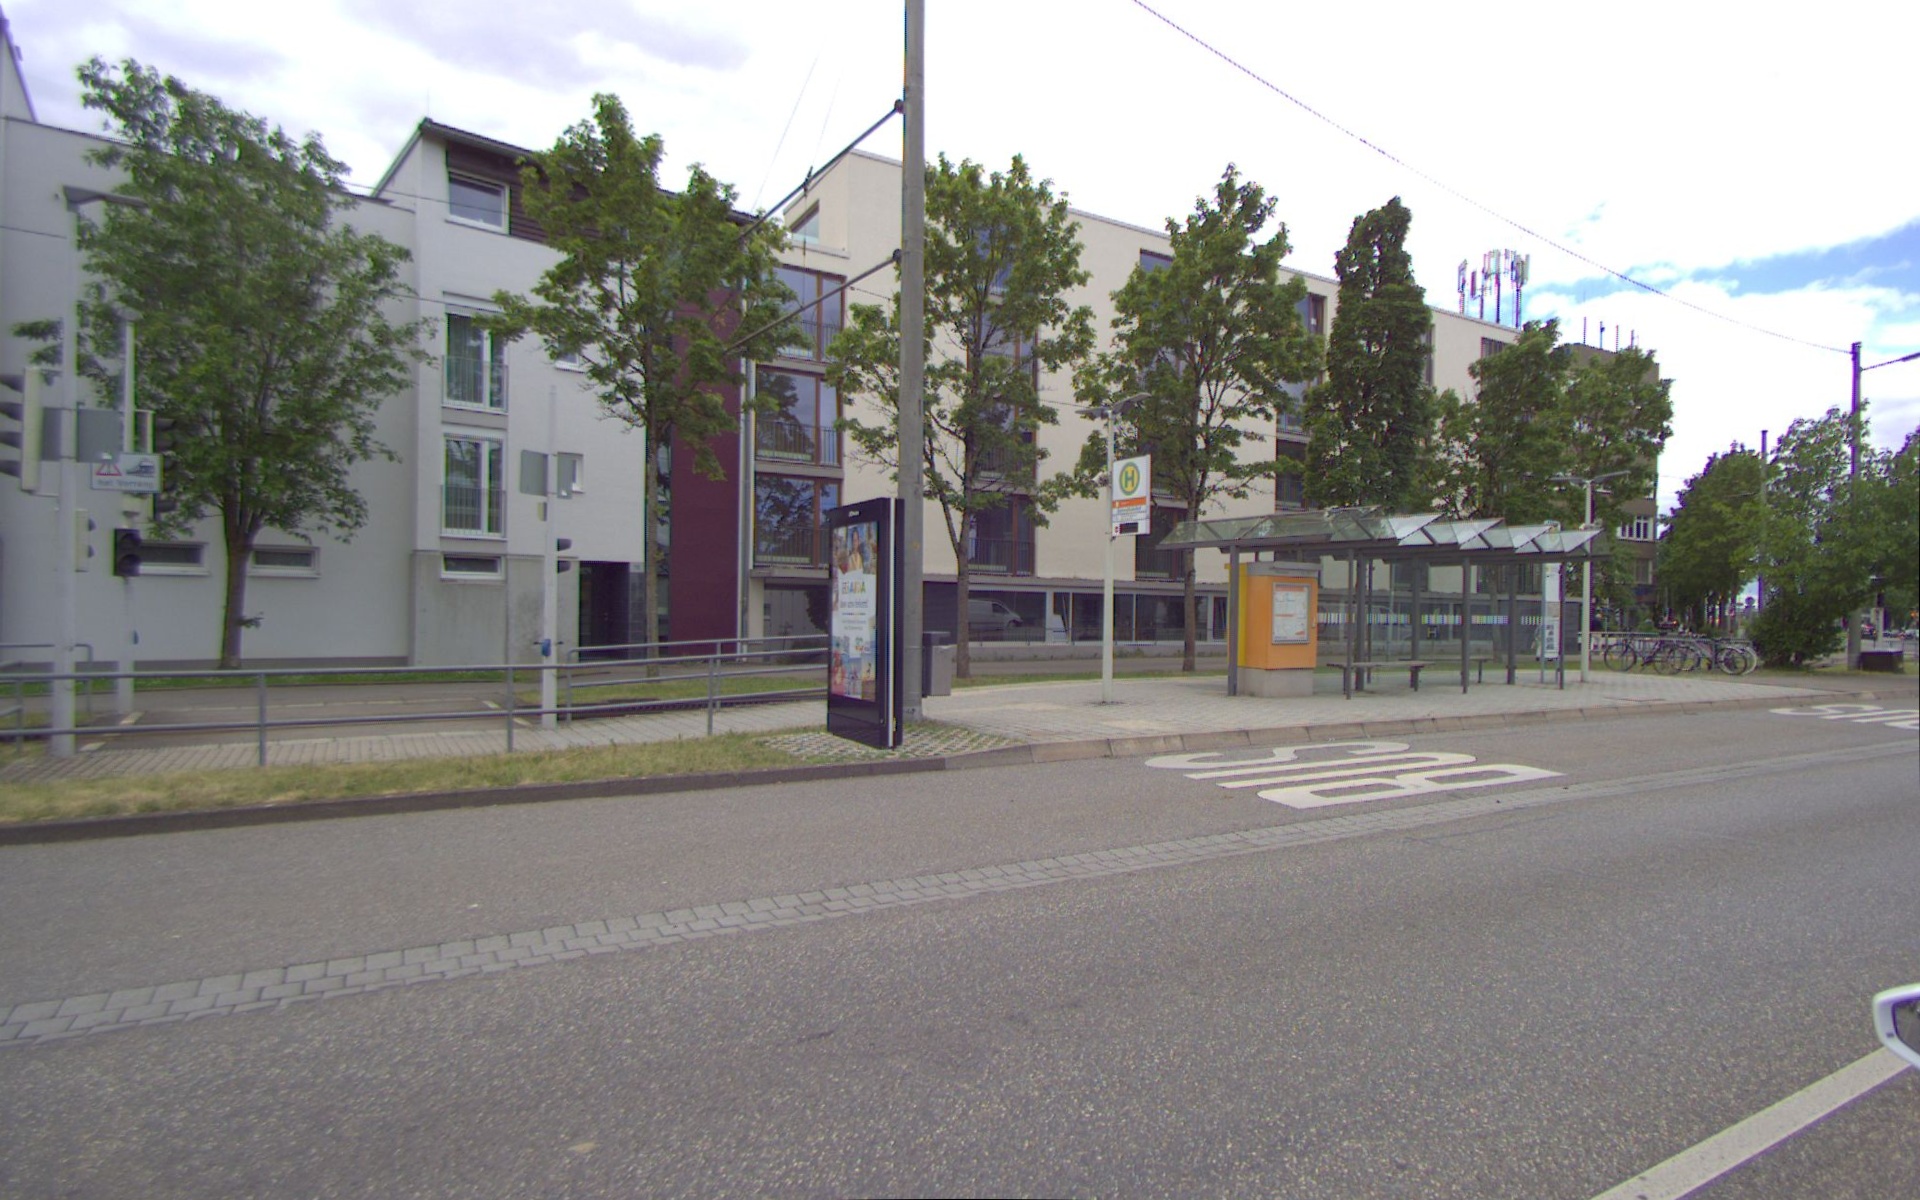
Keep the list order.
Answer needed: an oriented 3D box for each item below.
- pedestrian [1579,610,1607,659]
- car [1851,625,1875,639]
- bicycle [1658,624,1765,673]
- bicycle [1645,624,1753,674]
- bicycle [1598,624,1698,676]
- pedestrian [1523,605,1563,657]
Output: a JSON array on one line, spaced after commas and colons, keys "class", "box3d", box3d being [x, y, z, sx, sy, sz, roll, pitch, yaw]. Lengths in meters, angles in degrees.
[{"class": "pedestrian", "box3d": [26.837, 1.455, 42.570, 0.758, 2.041, 0.885, 4, 2, 41]}, {"class": "car", "box3d": [99.156, 3.488, 110.296, 1.878, 1.506, 3.979, 0, -1, 42]}, {"class": "bicycle", "box3d": [19.051, 1.213, 25.528, 0.624, 1.121, 2.090, 1, 1, -28]}, {"class": "bicycle", "box3d": [18.431, 1.198, 25.097, 0.624, 1.121, 2.090, 1, 1, -29]}, {"class": "bicycle", "box3d": [16.471, 1.173, 24.094, 0.580, 1.121, 1.920, 1, 1, -29]}, {"class": "pedestrian", "box3d": [20.897, 1.121, 36.011, 0.896, 1.788, 0.826, 2, 2, -30]}]
